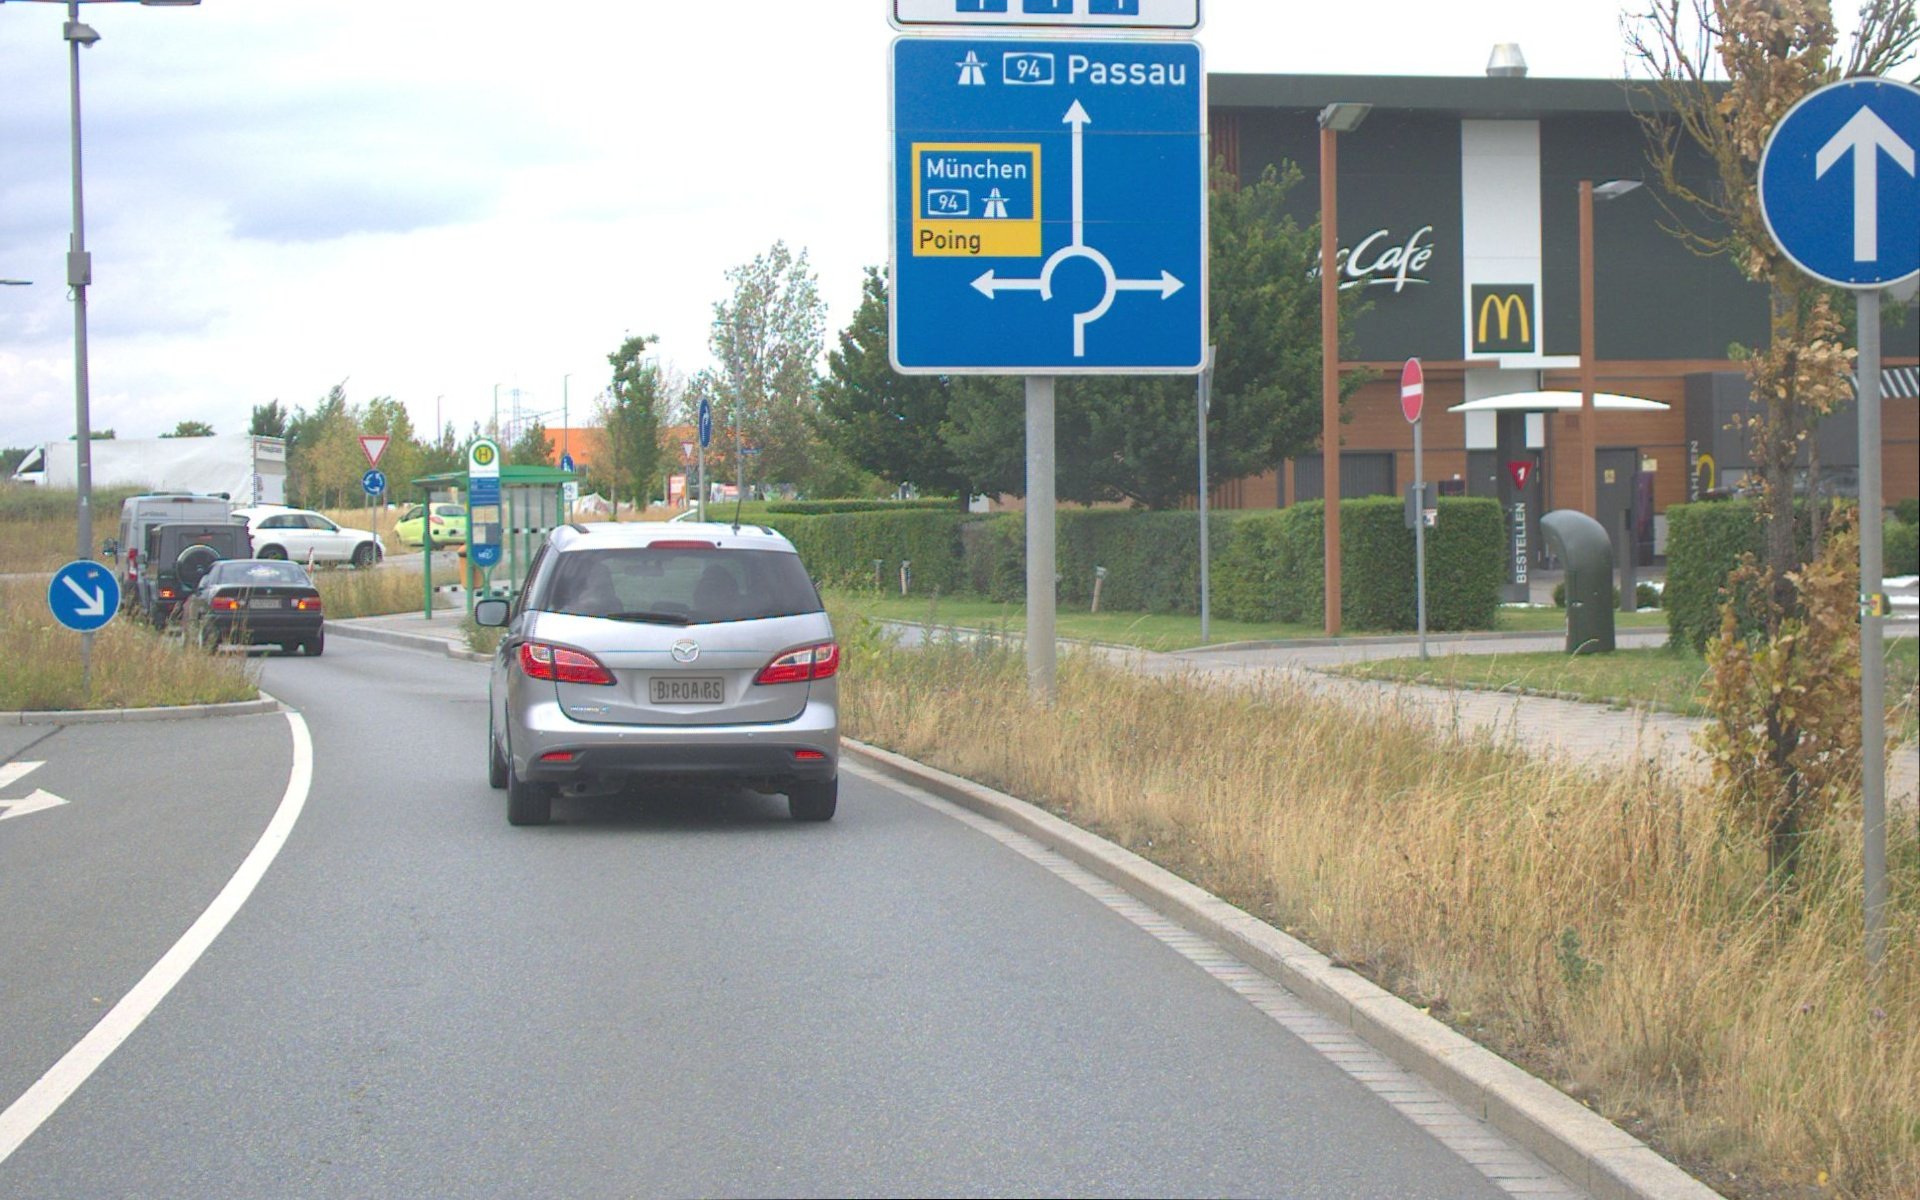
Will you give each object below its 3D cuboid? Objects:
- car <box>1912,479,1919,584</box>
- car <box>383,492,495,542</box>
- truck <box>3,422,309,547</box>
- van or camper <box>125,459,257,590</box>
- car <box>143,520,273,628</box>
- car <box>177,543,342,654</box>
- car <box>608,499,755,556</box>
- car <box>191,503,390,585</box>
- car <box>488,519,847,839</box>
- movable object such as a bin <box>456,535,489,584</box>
[{"bbox_3d":[17.193,-1.166,57.753,1.995,1.711,3.996,0,1,20],"label":"car"},{"bbox_3d":[-16.550,-2.628,109.001,1.994,1.510,4.000,-2,2,-33],"label":"car"},{"bbox_3d":[-26.452,-3.775,113.167,9.310,3.893,3.141,-1,1,14],"label":"truck"},{"bbox_3d":[-15.320,-1.511,68.278,2.302,2.497,5.208,-1,1,-15],"label":"van or camper"},{"bbox_3d":[-13.434,-0.487,61.256,2.057,1.819,4.788,-1,1,-14],"label":"car"},{"bbox_3d":[-9.884,-0.060,48.306,1.844,1.413,4.226,-1,2,-17],"label":"car"},{"bbox_3d":[-8.902,-2.327,109.845,4.601,1.751,2.000,-1,1,-6],"label":"car"},{"bbox_3d":[-17.130,-1.452,88.095,4.612,2.007,1.999,-2,2,-43],"label":"car"},{"bbox_3d":[-1.724,0.352,19.180,1.729,1.594,3.808,0,1,-9],"label":"car"},{"bbox_3d":[-7.882,-0.658,55.591,0.456,0.795,0.380,-1,1,-17],"label":"movable object such as a bin"}]
